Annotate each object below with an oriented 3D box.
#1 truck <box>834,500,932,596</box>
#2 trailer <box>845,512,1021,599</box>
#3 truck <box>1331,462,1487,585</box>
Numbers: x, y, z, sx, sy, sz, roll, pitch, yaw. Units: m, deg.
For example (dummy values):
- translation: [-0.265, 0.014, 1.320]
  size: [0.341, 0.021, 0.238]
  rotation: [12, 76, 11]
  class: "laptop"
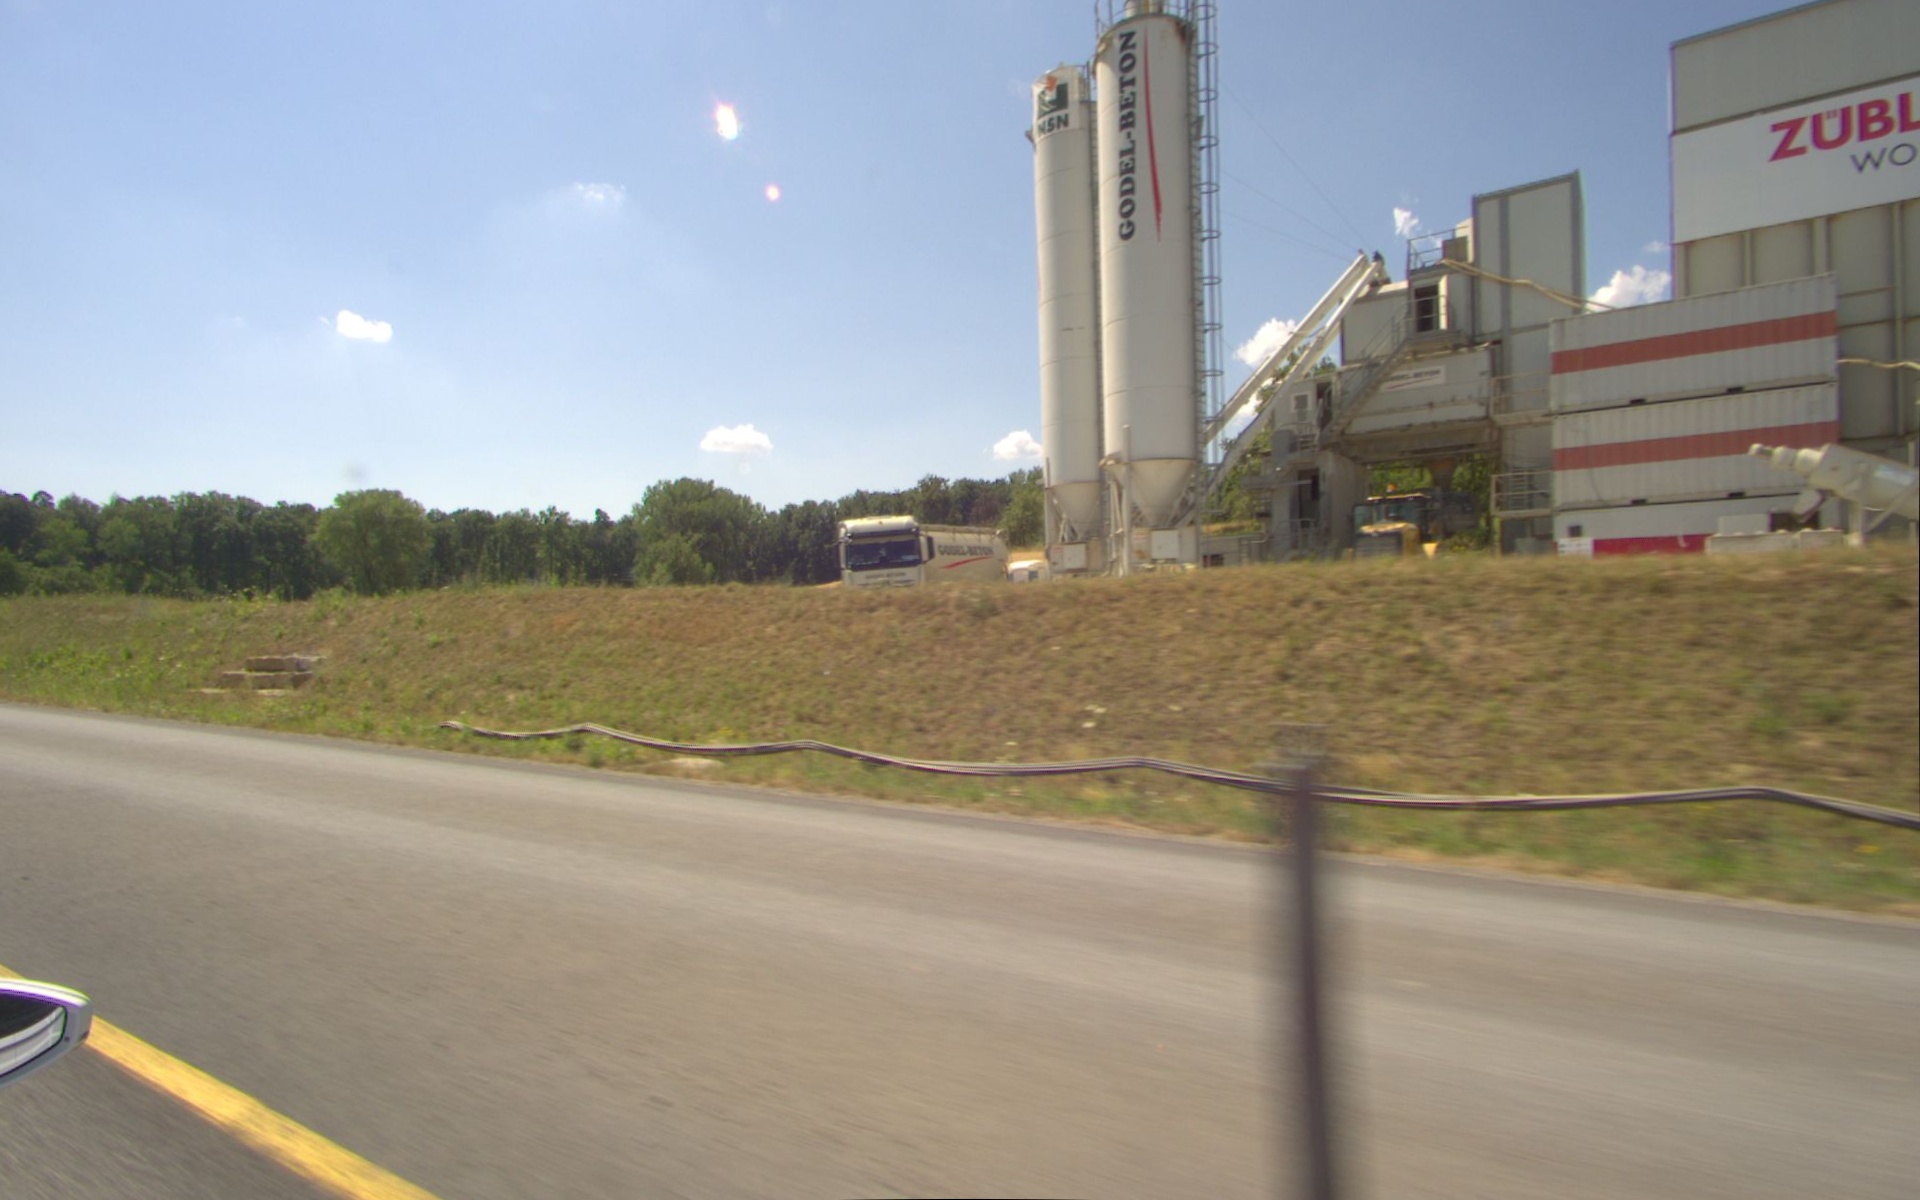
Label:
- translation: [-2.443, -1.516, 31.961]
  size: [2.849, 2.576, 5.310]
  rotation: [0, -2, -4]
  class: "truck"
- translation: [-0.702, -1.453, 37.246]
  size: [2.426, 2.640, 8.888]
  rotation: [-1, -1, 28]
  class: "trailer"
- translation: [14.365, -2.148, 31.541]
  size: [2.429, 2.904, 9.041]
  rotation: [-1, -2, 38]
  class: "truck"
